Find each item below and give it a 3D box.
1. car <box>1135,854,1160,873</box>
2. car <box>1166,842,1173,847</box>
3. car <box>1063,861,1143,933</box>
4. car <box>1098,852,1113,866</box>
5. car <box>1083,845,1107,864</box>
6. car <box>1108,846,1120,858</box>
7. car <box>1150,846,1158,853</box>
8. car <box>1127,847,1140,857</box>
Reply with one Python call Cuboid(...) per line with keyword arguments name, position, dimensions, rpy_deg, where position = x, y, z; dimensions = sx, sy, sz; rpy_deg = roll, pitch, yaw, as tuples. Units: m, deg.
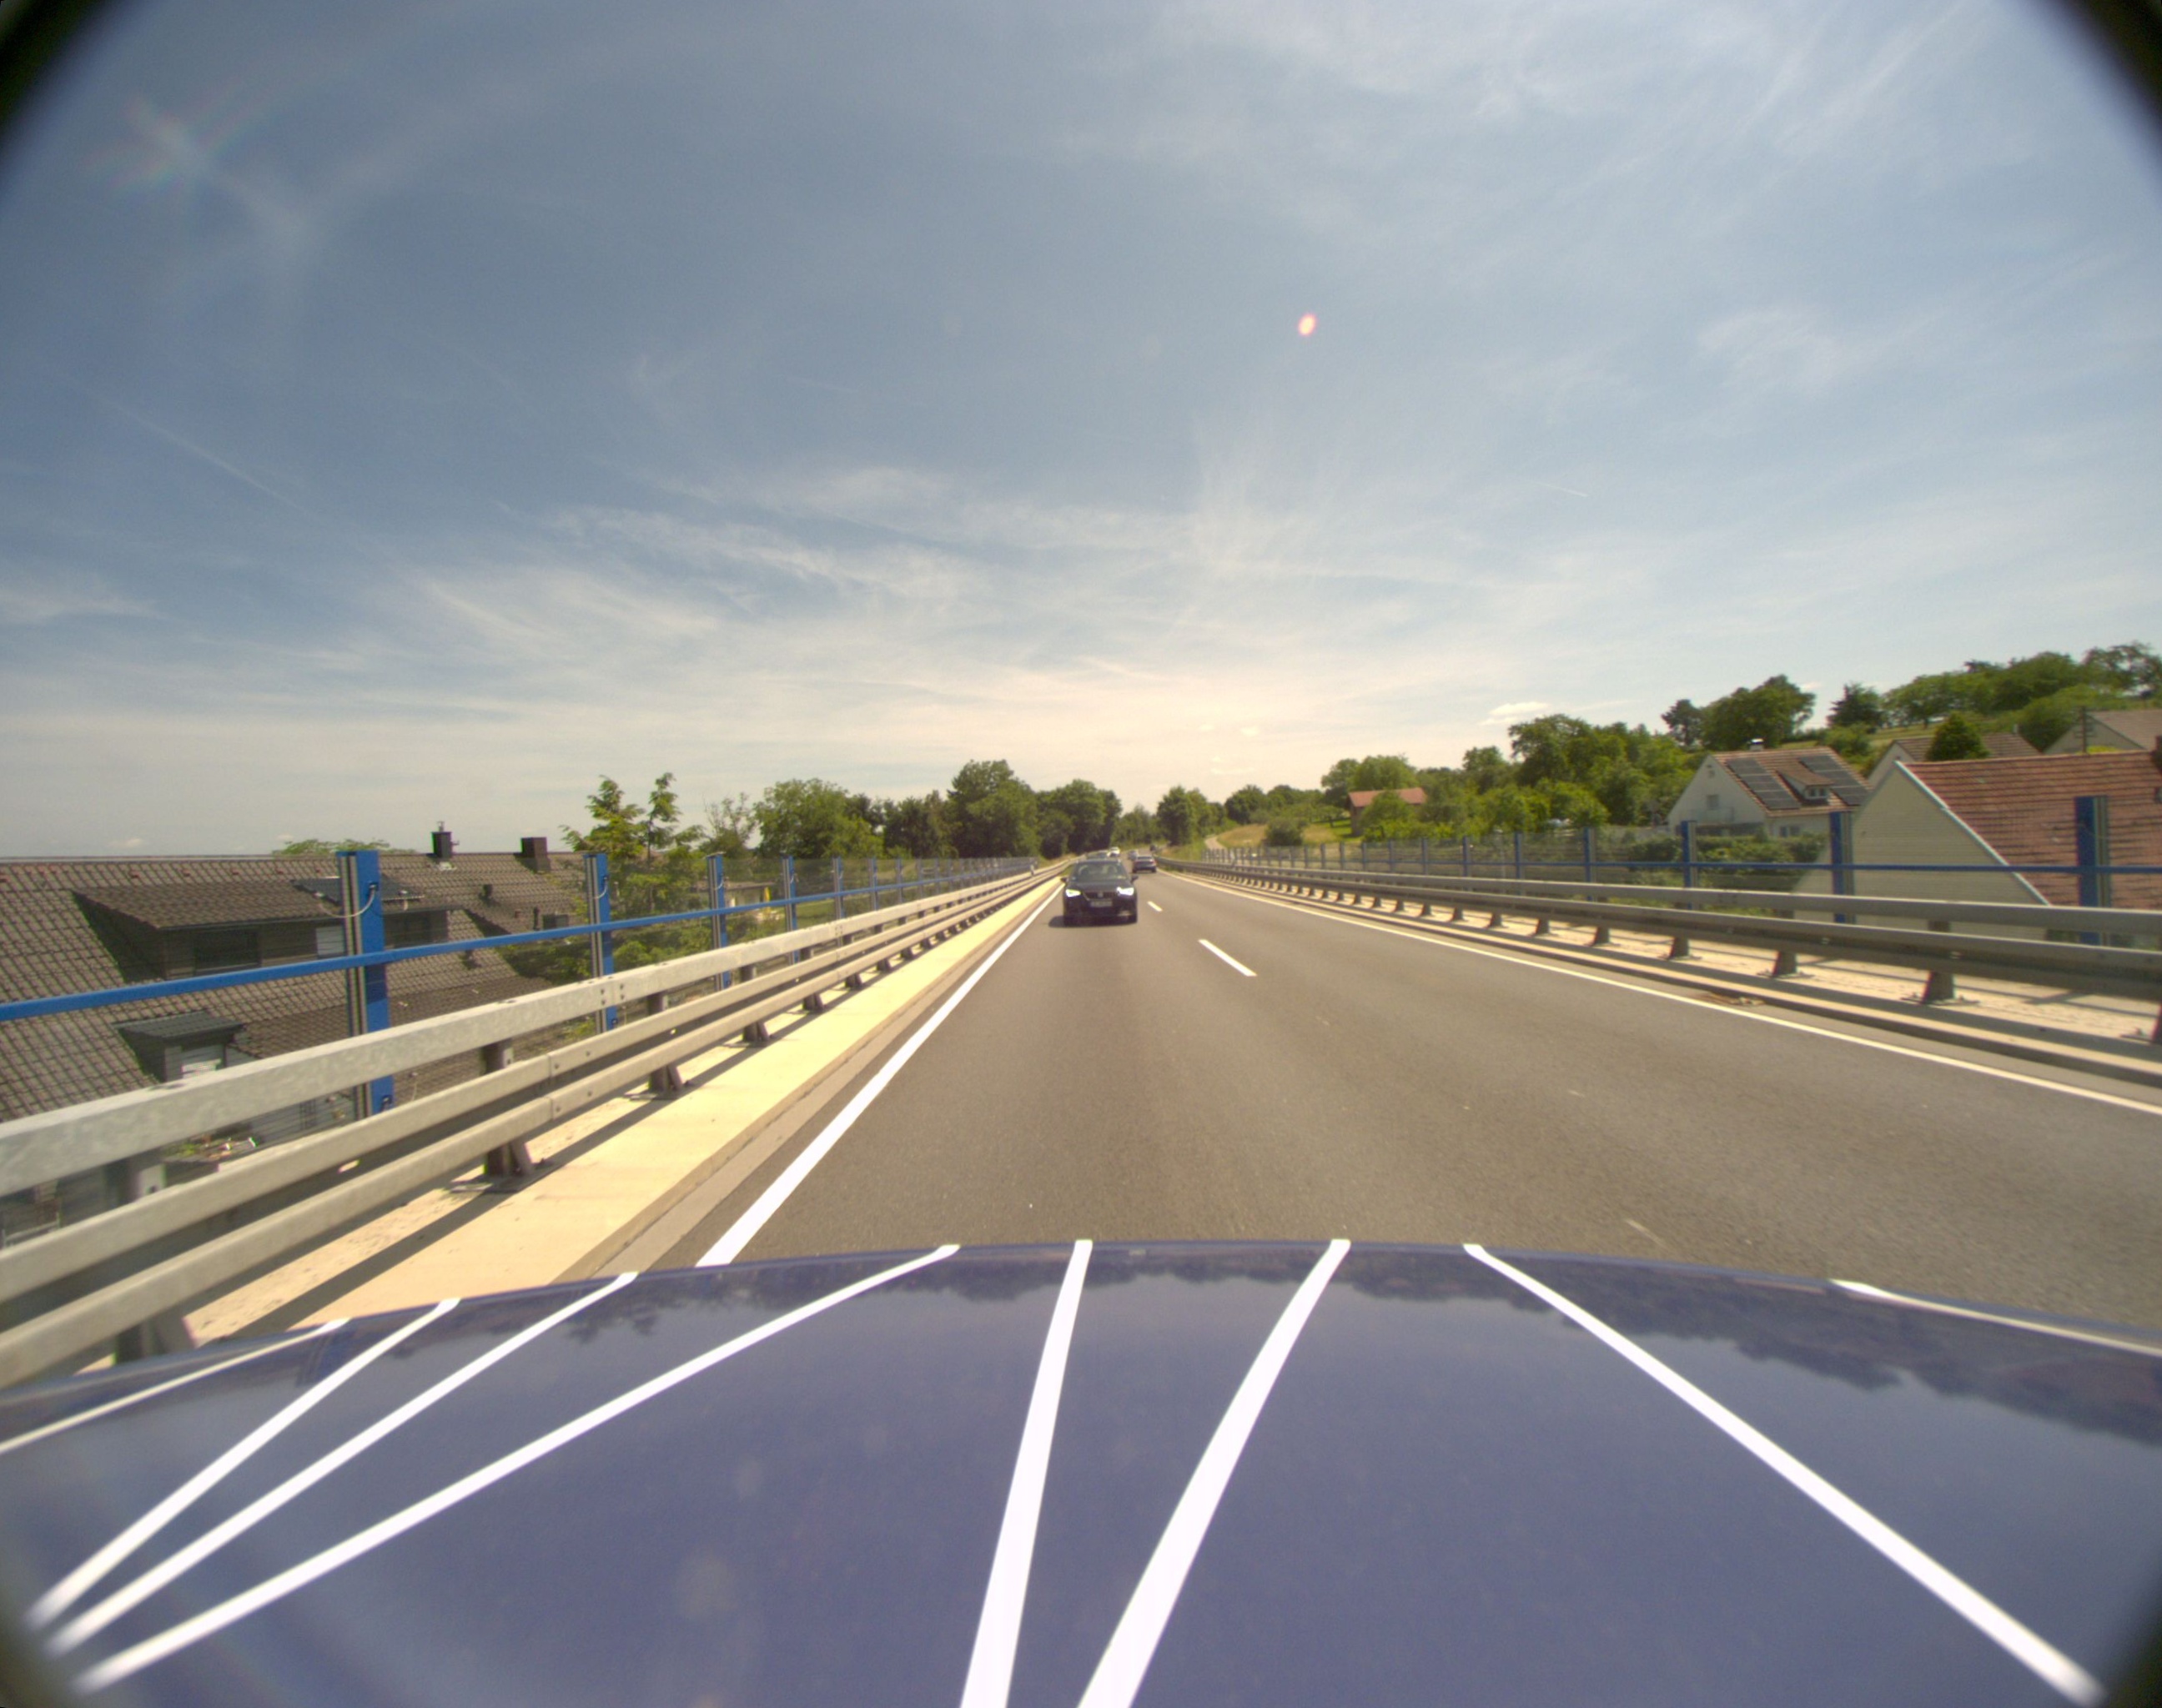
Cuboid(name="car", position=(5.358, 0.771, 61.820), dimensions=(1.785, 1.427, 4.835), rpy_deg=(-1, 0, 2))
Cuboid(name="car", position=(25.639, -2.637, 219.472), dimensions=(1.649, 1.432, 4.161), rpy_deg=(-1, 0, 9))
Cuboid(name="car", position=(0.504, 0.970, 18.714), dimensions=(1.737, 1.467, 4.000), rpy_deg=(-1, 1, 1))
Cuboid(name="car", position=(3.183, 0.575, 97.715), dimensions=(1.883, 1.698, 4.000), rpy_deg=(-1, 1, 3))
Cuboid(name="car", position=(1.310, 0.032, 71.193), dimensions=(1.883, 1.698, 4.001), rpy_deg=(-1, 1, 6))
Cuboid(name="car", position=(5.987, -0.445, 138.083), dimensions=(1.998, 2.002, 4.000), rpy_deg=(-2, 1, 3))
Cuboid(name="car", position=(17.331, -1.123, 179.839), dimensions=(1.810, 1.580, 4.381), rpy_deg=(-1, 1, 6))
Cuboid(name="car", position=(8.219, -0.312, 119.413), dimensions=(1.711, 1.496, 4.118), rpy_deg=(-1, 1, 1))
